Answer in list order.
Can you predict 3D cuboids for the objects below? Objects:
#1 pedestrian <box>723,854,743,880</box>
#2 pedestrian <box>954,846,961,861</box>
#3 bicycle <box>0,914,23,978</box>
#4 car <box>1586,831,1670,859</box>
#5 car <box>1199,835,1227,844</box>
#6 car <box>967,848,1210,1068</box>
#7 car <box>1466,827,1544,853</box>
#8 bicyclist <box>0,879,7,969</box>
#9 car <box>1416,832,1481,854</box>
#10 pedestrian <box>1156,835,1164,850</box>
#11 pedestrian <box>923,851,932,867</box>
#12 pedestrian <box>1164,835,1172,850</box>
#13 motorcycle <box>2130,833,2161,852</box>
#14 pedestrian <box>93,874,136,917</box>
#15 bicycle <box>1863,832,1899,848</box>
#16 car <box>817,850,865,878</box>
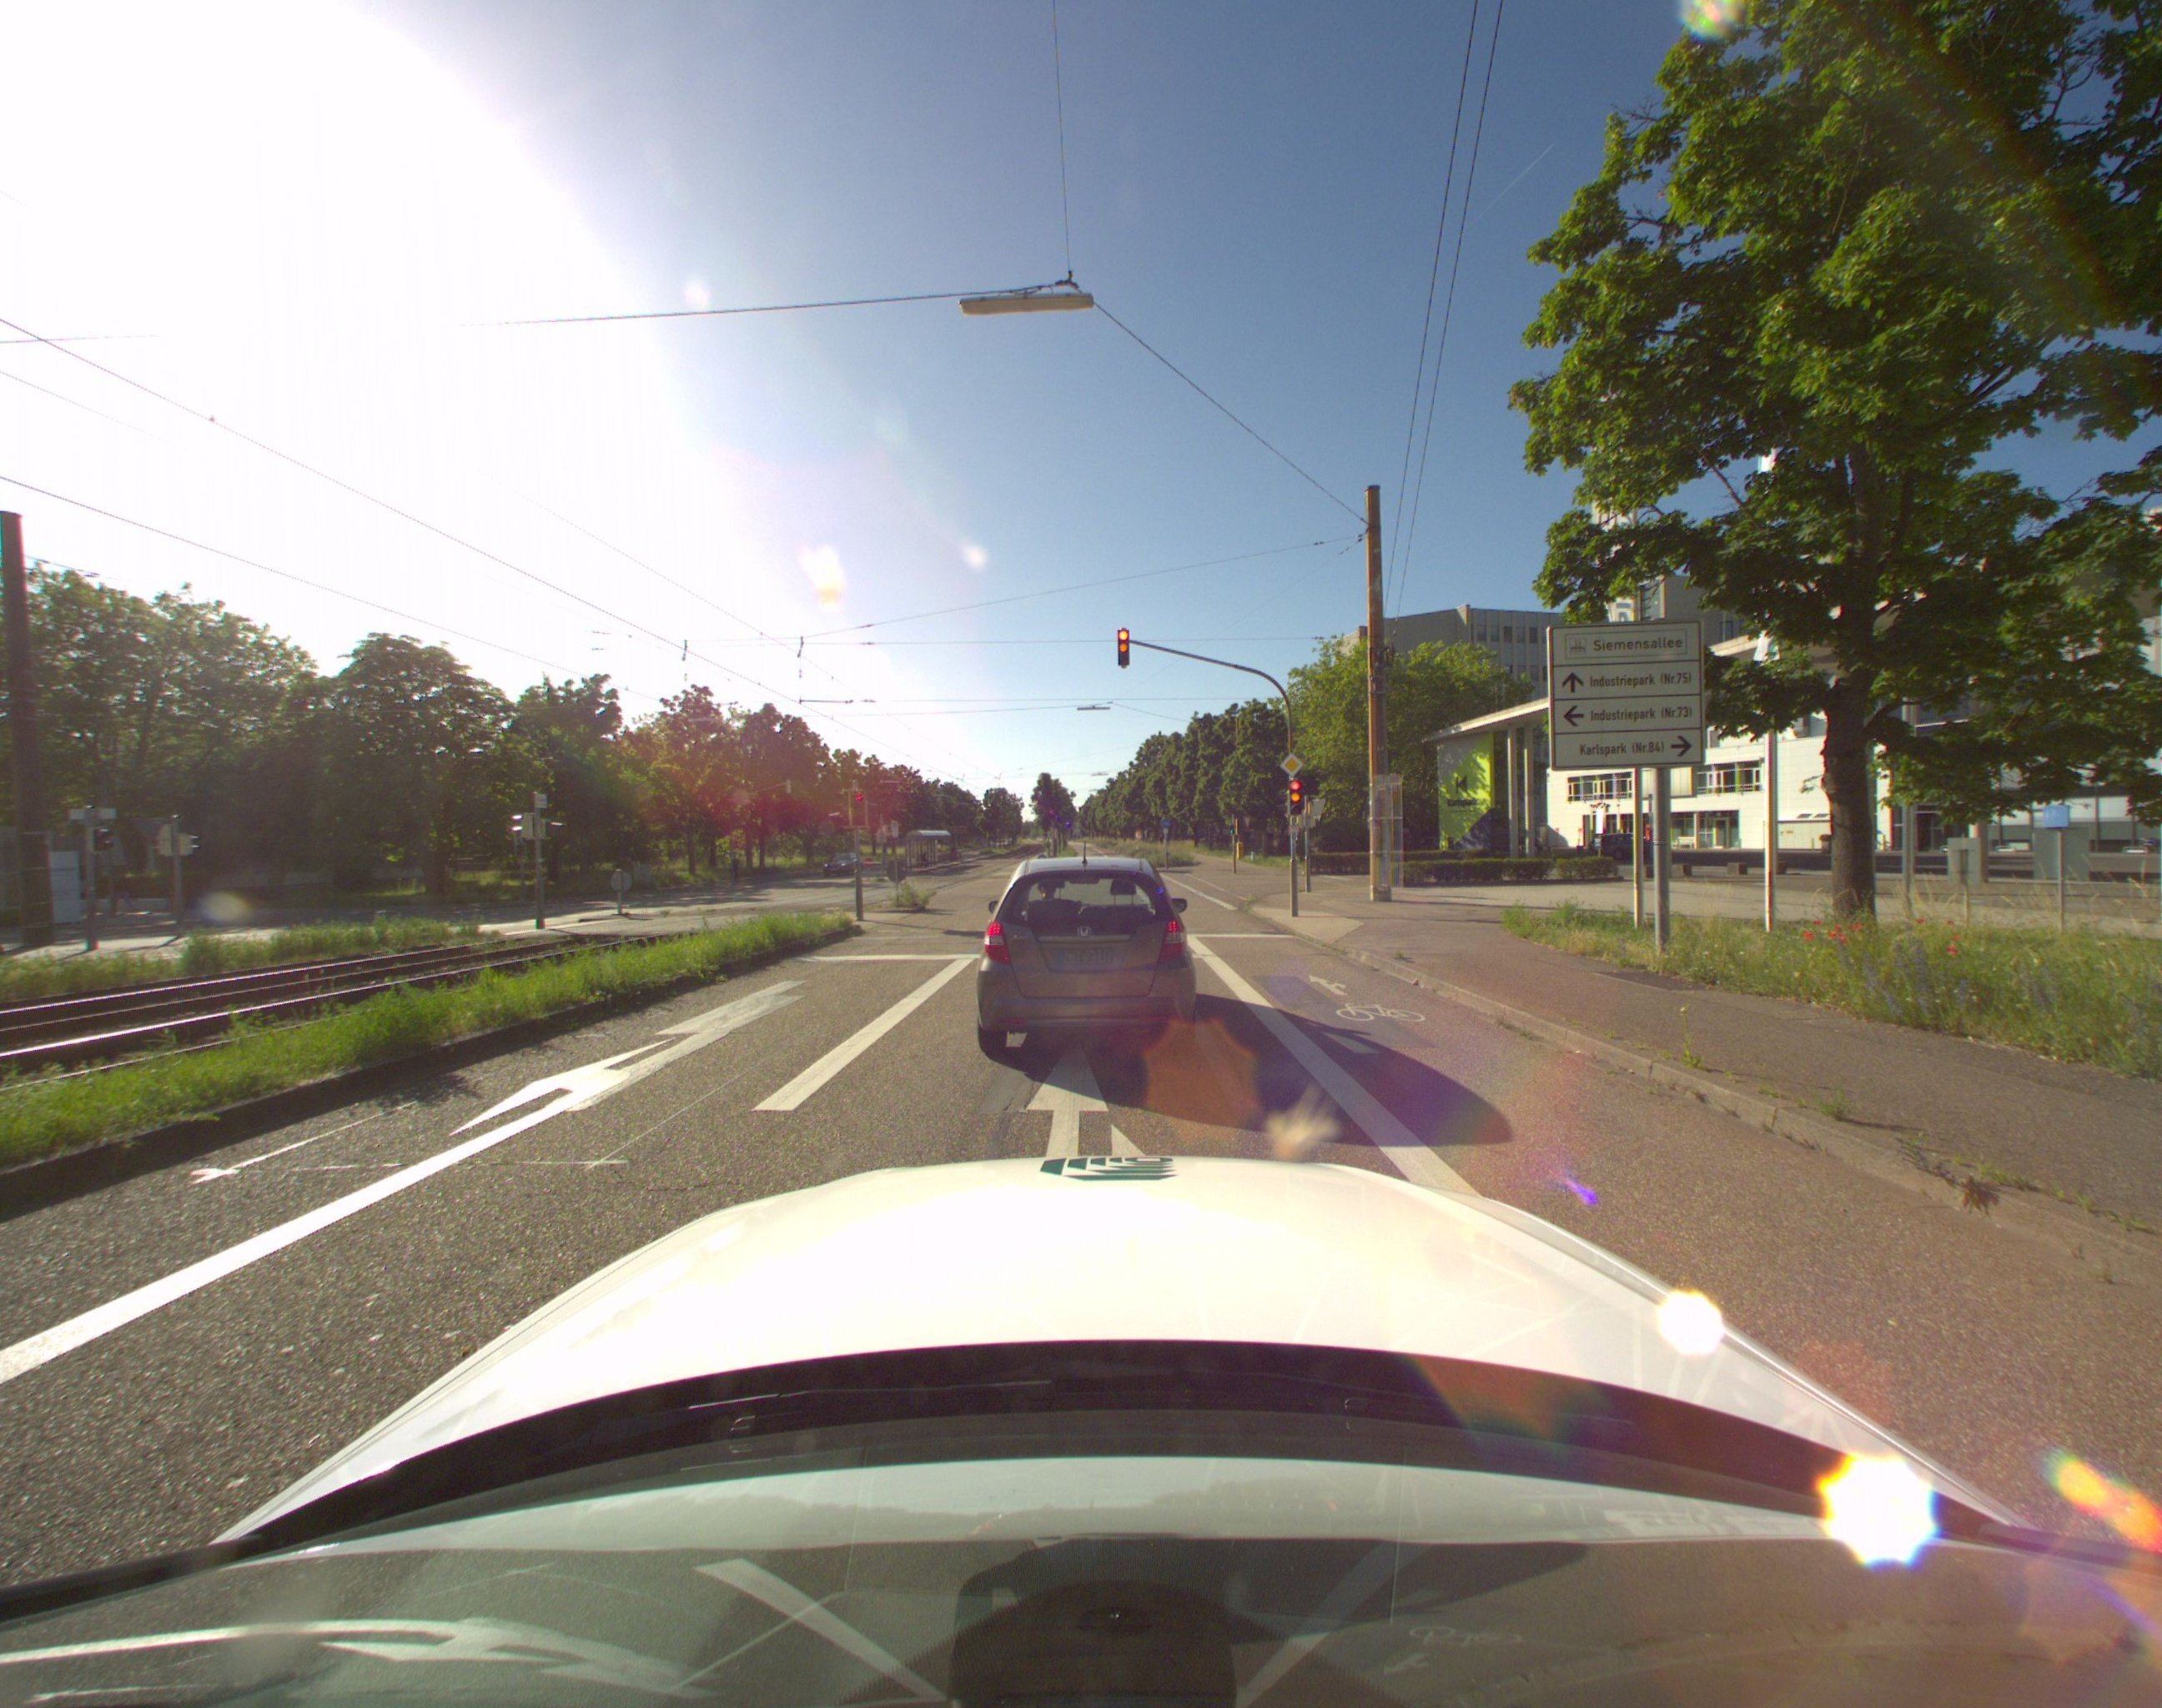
[{"bbox_3d":[-24.452,0.916,57.226,0.751,1.734,0.943,-1,1,30],"label":"pedestrian"},{"bbox_3d":[-12.262,-0.042,80.577,0.542,1.447,0.559,-2,0,1],"label":"pedestrian"},{"bbox_3d":[-19.769,1.665,14.002,0.690,1.102,1.791,-1,0,22],"label":"bicycle"},{"bbox_3d":[33.324,-0.571,49.640,3.984,1.578,1.949,-1,0,-8],"label":"car"},{"bbox_3d":[23.380,-2.546,144.245,4.623,1.555,1.997,-2,1,-5],"label":"car"},{"bbox_3d":[0.111,0.738,7.589,1.694,1.524,3.711,-1,0,2],"label":"car"},{"bbox_3d":[31.111,-1.051,59.770,4.888,1.757,2.082,-2,1,-14],"label":"car"},{"bbox_3d":[-19.743,1.258,14.071,0.795,1.593,1.243,-1,0,22],"label":"bicyclist"},{"bbox_3d":[30.049,-0.927,66.662,4.448,1.686,1.892,-2,1,-4],"label":"car"},{"bbox_3d":[9.956,-1.448,102.247,0.880,1.884,0.875,-2,1,-2],"label":"pedestrian"},{"bbox_3d":[-12.441,0.384,66.008,0.562,1.257,0.581,-4,0,1],"label":"pedestrian"},{"bbox_3d":[10.891,-1.456,102.308,0.880,1.884,0.875,-2,1,-2],"label":"pedestrian"},{"bbox_3d":[54.665,-0.595,41.255,0.652,0.947,1.727,-2,1,-13],"label":"motorcycle"},{"bbox_3d":[-42.112,1.795,35.487,0.943,1.787,0.824,-2,1,15],"label":"pedestrian"},{"bbox_3d":[52.274,-0.905,53.242,0.565,1.004,1.614,-2,1,-13],"label":"bicycle"},{"bbox_3d":[-17.863,0.688,60.899,2.087,1.810,4.792,-4,1,0],"label":"car"}]
